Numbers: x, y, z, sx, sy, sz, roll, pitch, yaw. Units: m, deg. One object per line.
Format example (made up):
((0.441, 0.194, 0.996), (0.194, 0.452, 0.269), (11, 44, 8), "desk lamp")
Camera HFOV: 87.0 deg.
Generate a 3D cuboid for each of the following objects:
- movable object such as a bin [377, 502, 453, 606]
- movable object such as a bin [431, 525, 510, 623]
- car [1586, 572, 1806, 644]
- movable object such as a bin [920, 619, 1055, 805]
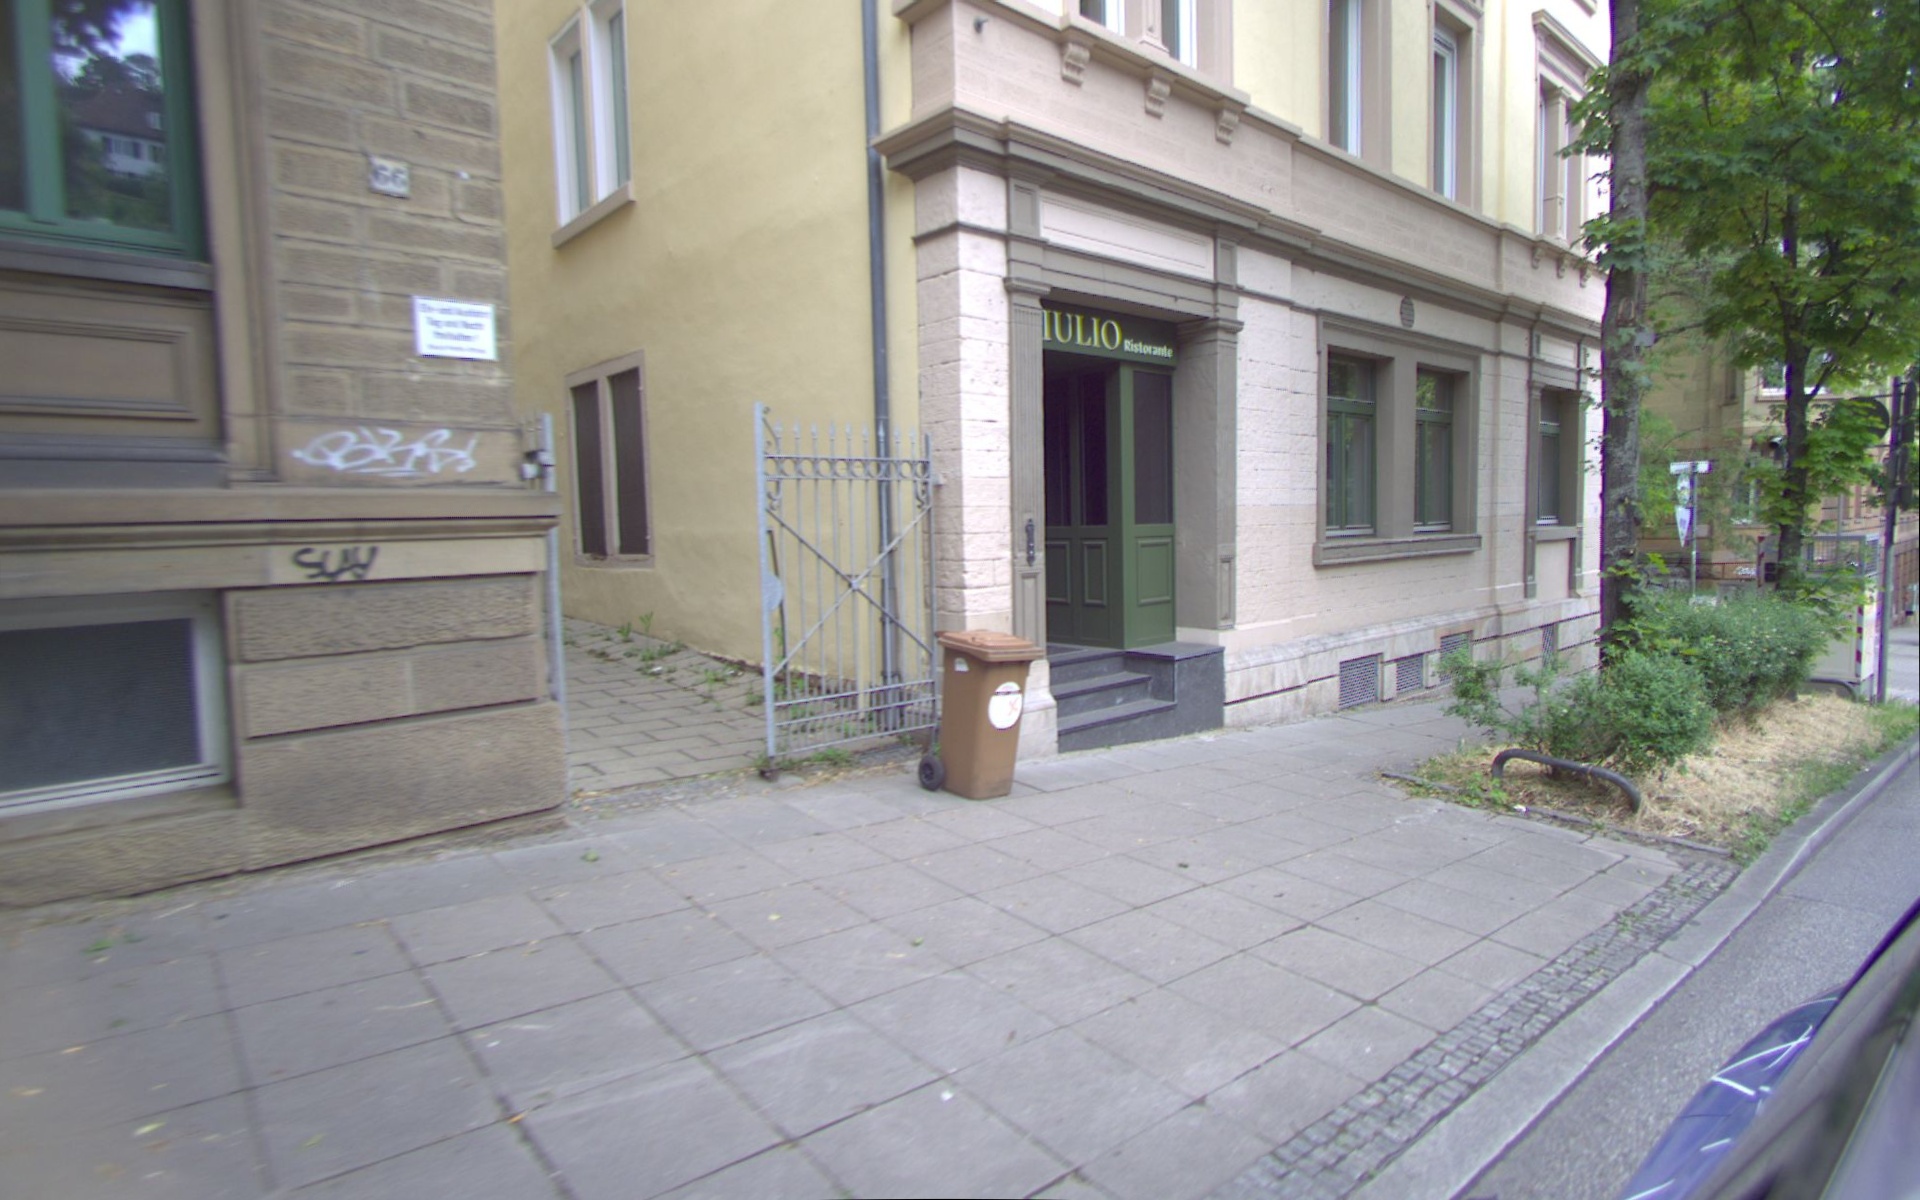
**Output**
((-7.763, -0.675, 14.404), (0.756, 1.410, 0.856), (-4, 7, -40), "movable object such as a bin")
((-6.028, -0.338, 12.477), (0.542, 1.137, 0.692), (5, 7, 37), "movable object such as a bin")
((18.244, 0.138, 25.236), (1.780, 1.395, 4.095), (0, 5, -42), "car")
((0.152, 0.614, 5.843), (0.503, 0.944, 0.564), (0, 5, -34), "movable object such as a bin")
